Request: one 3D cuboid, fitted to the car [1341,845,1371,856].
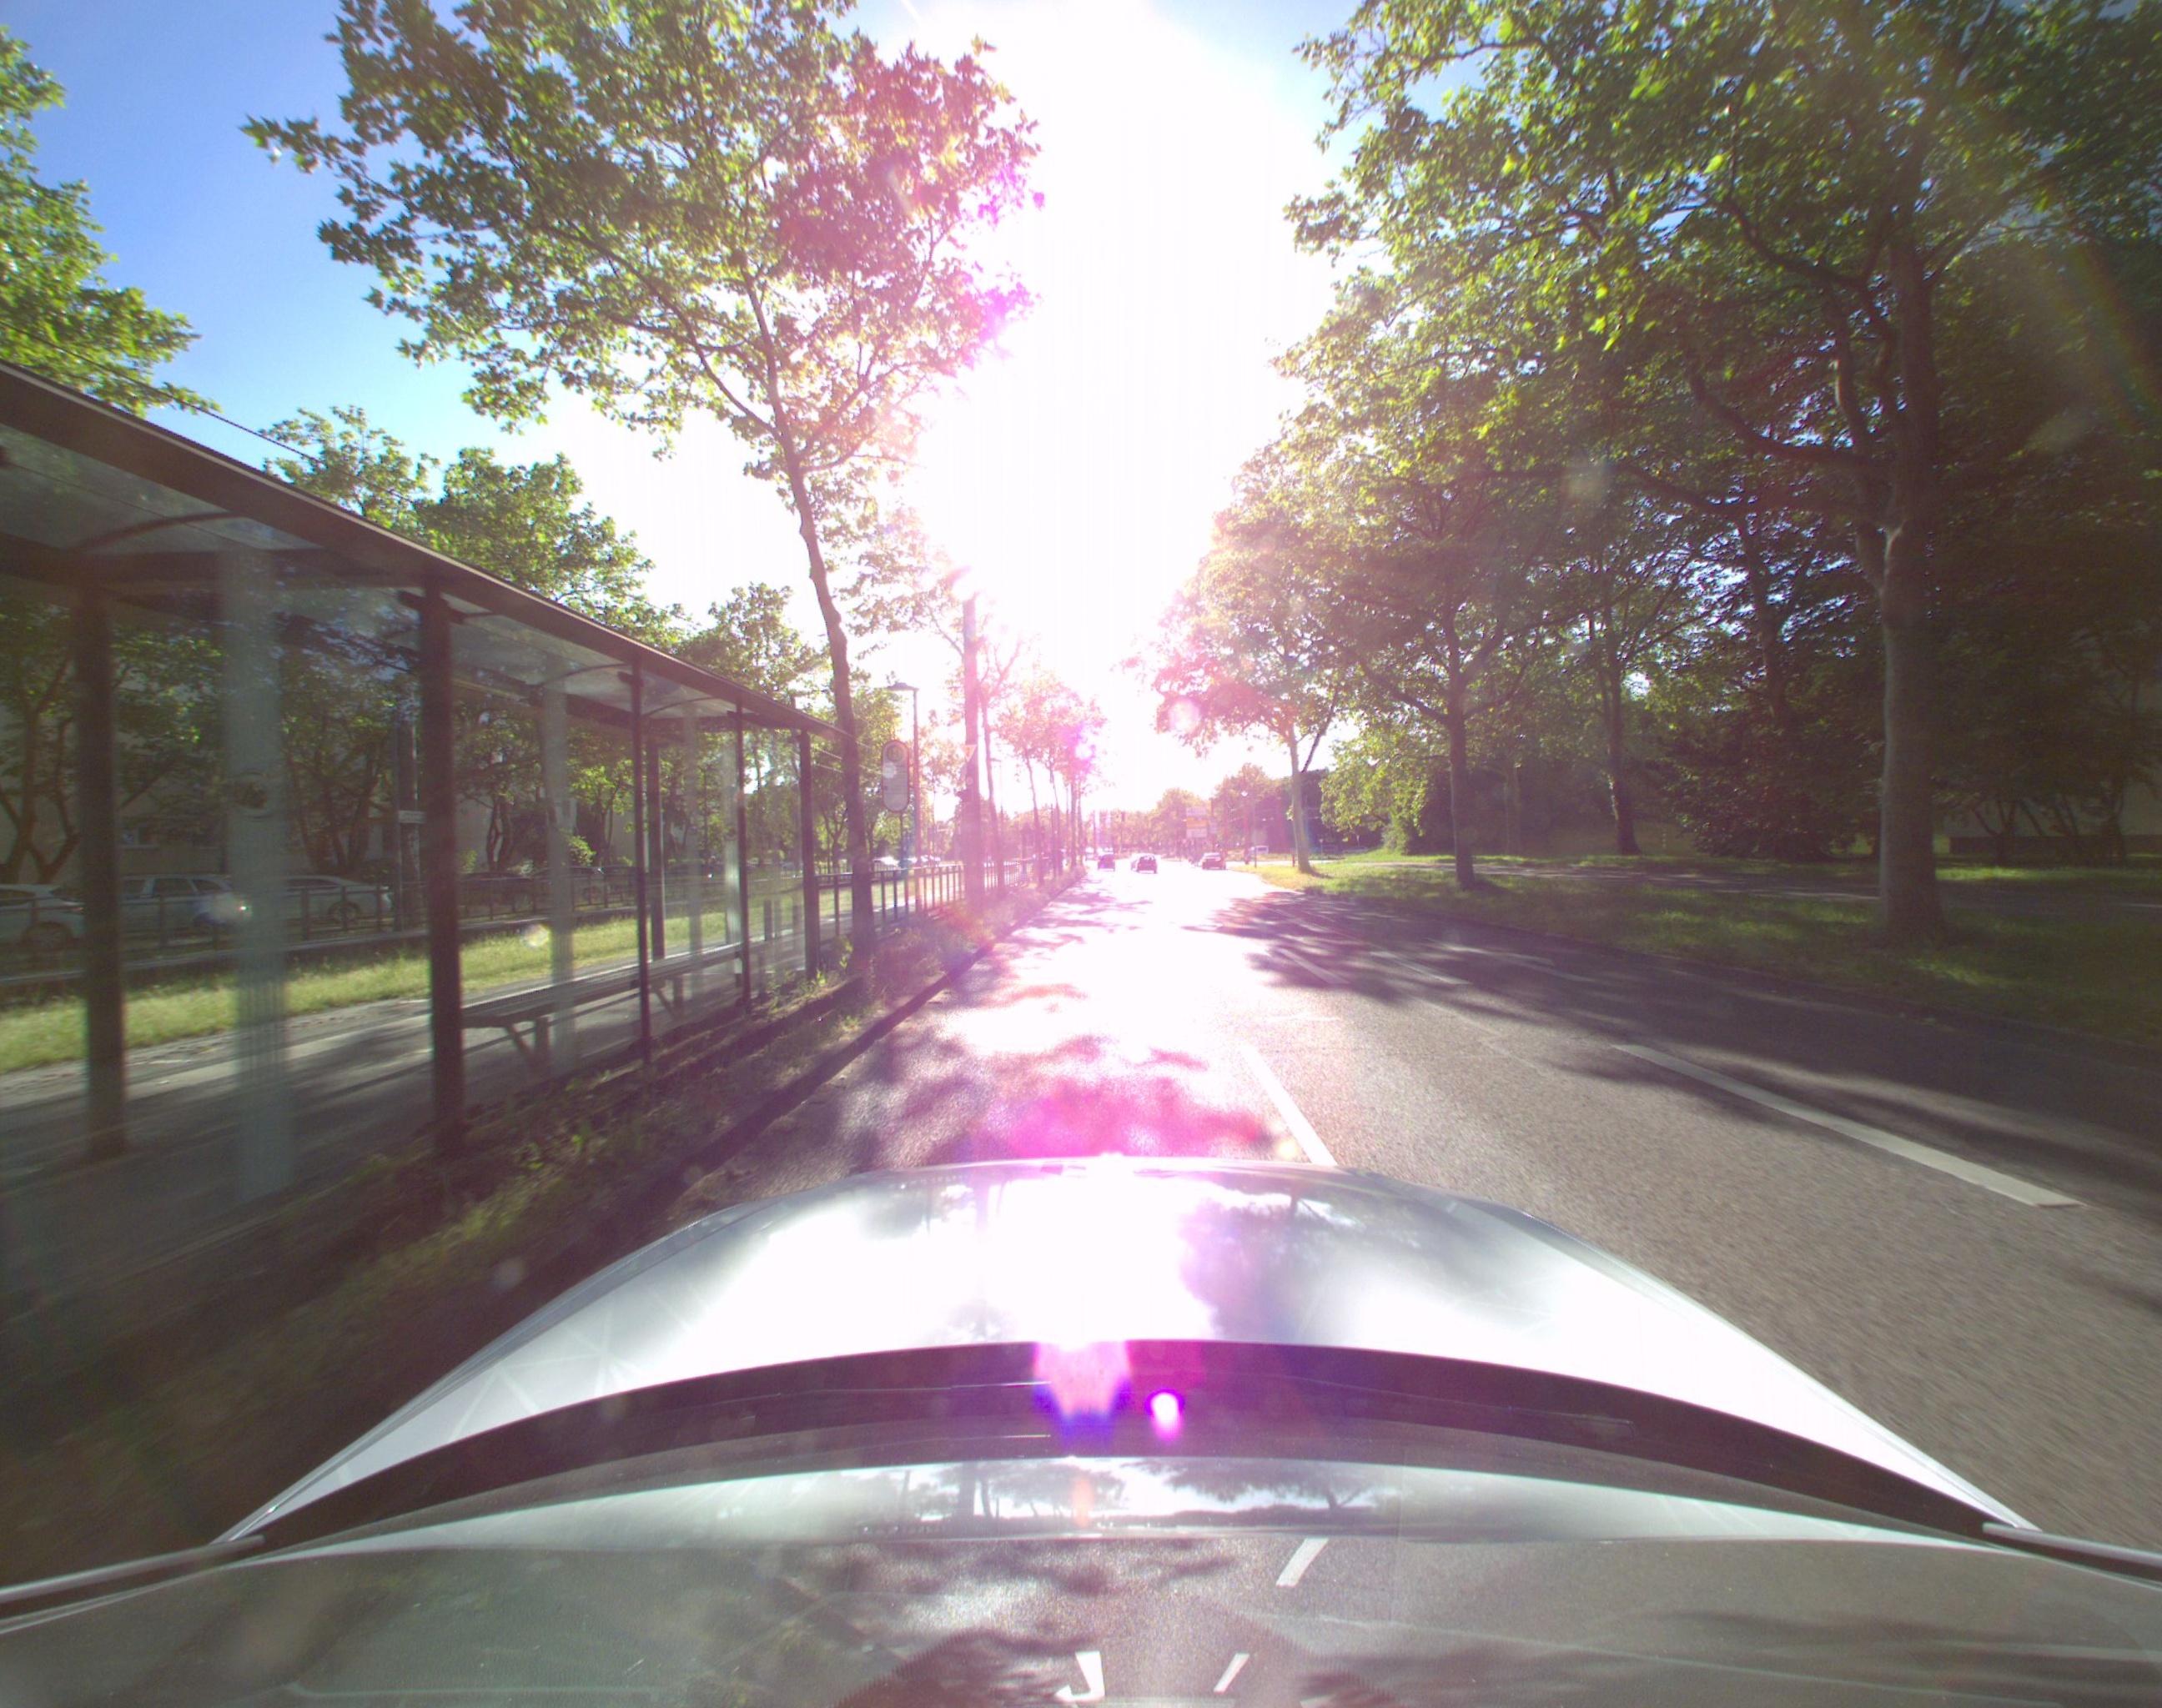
[{"bbox_3d":[40.250,-0.504,119.317,3.949,1.495,1.872,-1,0,28],"label":"car"}]

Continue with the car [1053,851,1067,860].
[{"bbox_3d":[-4.156,0.253,161.293,1.811,1.780,4.580,-1,0,10],"label":"car"}]

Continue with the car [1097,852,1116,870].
[{"bbox_3d":[2.296,0.625,74.018,1.704,1.603,3.350,-1,0,1],"label":"car"}]

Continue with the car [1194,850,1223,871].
[{"bbox_3d":[11.577,0.587,74.215,1.974,1.792,4.615,-1,0,1],"label":"car"}]

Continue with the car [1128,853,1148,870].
[{"bbox_3d":[5.196,0.700,74.348,1.671,1.475,4.133,-1,0,3],"label":"car"}]

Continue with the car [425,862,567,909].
[{"bbox_3d":[-22.612,1.168,31.602,1.626,1.544,4.201,0,1,43],"label":"car"}]

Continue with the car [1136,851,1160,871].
[{"bbox_3d":[5.345,0.539,65.433,1.633,1.494,3.504,0,1,1],"label":"car"}]

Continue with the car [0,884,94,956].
[{"bbox_3d":[-24.140,1.474,17.192,1.556,1.432,4.085,0,1,43],"label":"car"}]

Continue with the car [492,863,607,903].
[{"bbox_3d":[-23.070,1.218,35.430,4.014,1.544,1.627,-1,1,-40],"label":"car"}]

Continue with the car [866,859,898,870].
[{"bbox_3d":[-31.492,1.705,128.907,4.447,1.611,1.910,-2,0,20],"label":"car"}]

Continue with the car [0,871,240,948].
[{"bbox_3d":[-23.948,1.300,20.317,1.556,1.568,4.085,2,2,43],"label":"car"}]

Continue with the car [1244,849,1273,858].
[{"bbox_3d":[26.871,-0.047,123.163,3.950,1.338,1.739,-1,0,27],"label":"car"}]

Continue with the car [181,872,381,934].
[{"bbox_3d":[-23.384,1.365,23.953,1.556,1.473,4.085,0,1,43],"label":"car"}]

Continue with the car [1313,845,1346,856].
[{"bbox_3d":[36.060,-0.530,118.205,4.311,1.559,1.883,-1,0,26],"label":"car"}]
